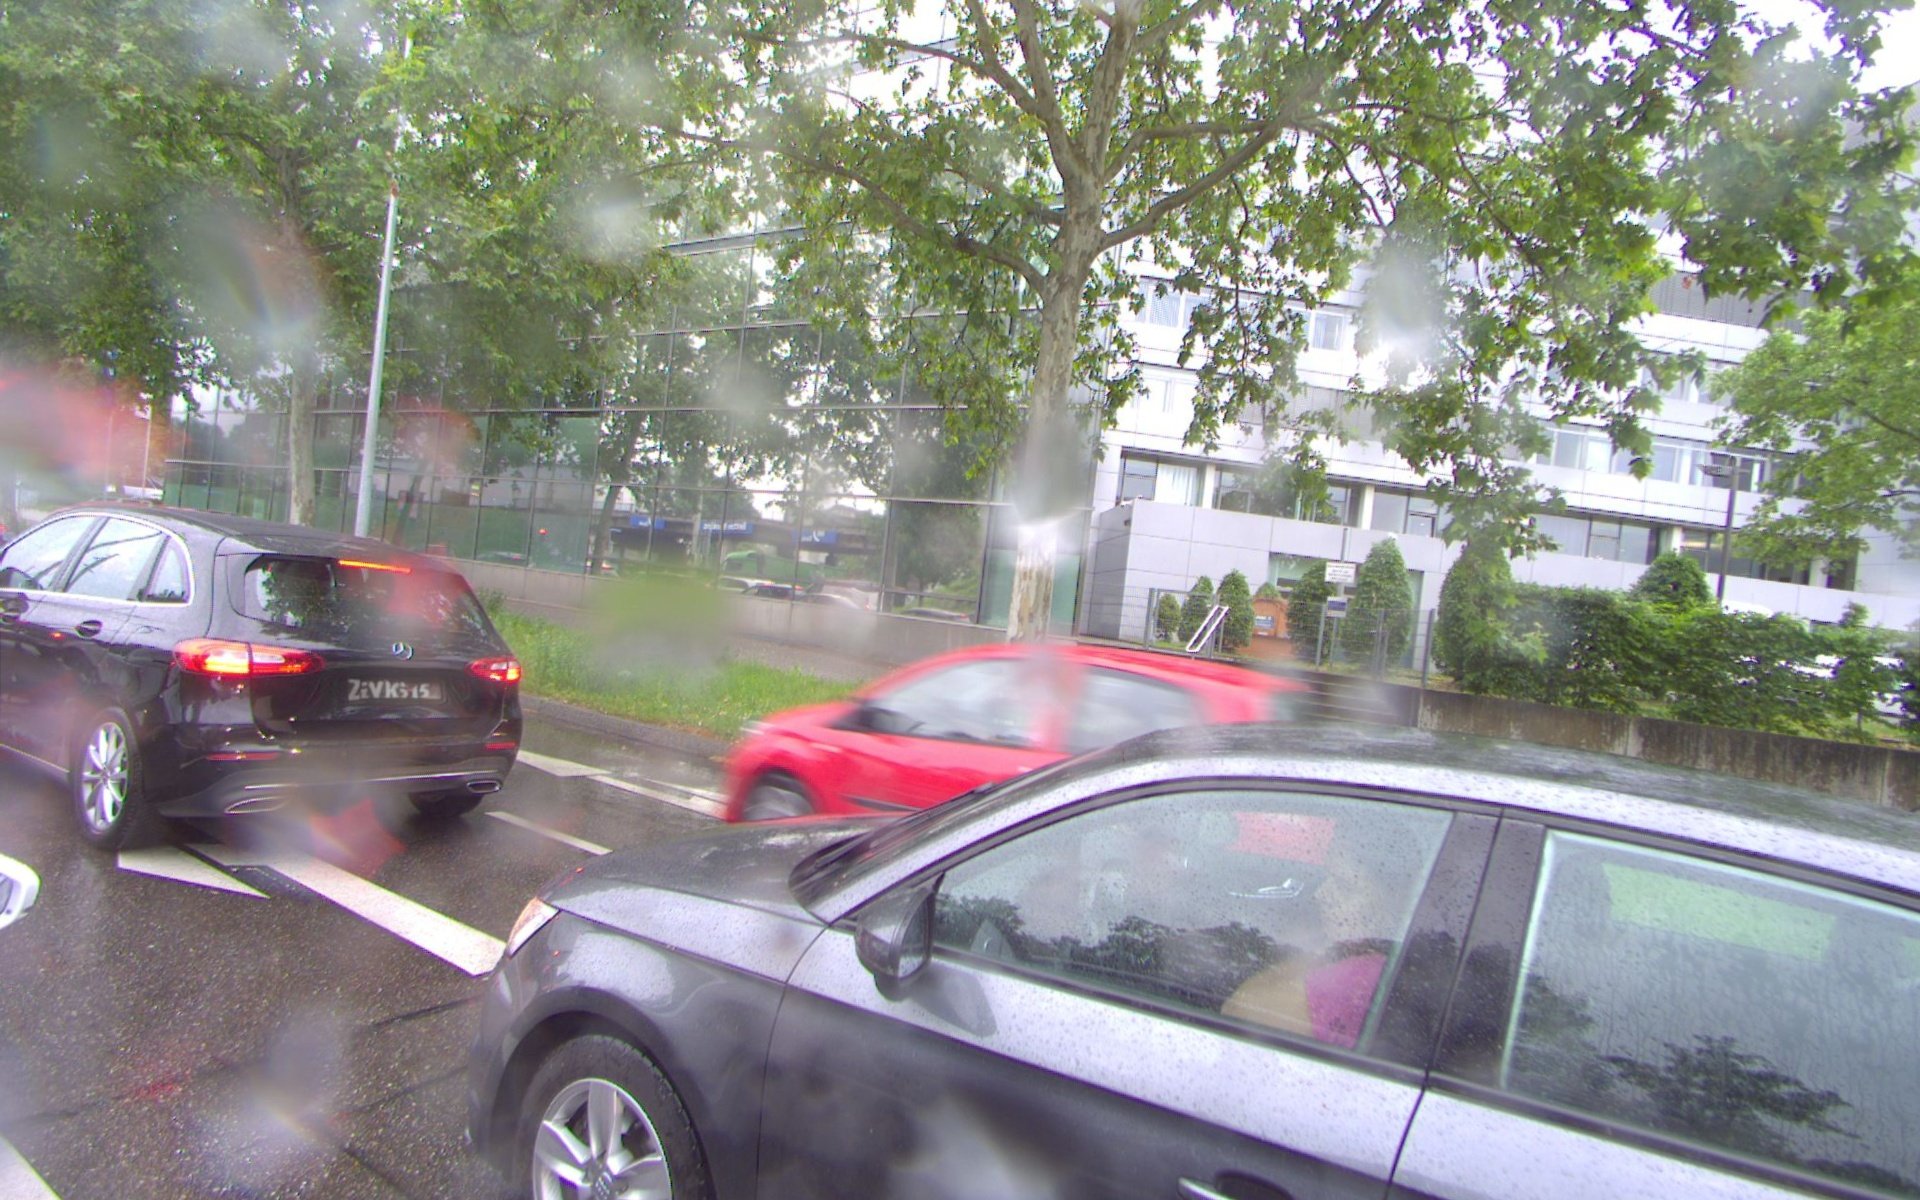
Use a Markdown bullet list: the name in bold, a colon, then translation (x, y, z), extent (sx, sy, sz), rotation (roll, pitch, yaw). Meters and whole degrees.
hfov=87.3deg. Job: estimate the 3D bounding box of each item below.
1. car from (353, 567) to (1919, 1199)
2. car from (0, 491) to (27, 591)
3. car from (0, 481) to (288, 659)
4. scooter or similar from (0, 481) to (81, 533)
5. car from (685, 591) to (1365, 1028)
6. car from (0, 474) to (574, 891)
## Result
- **car**: translation (0.653, 0.899, 2.119), extent (3.718, 1.445, 1.679), rotation (7, -1, 31)
- **car**: translation (-17.957, -1.271, 17.159), extent (3.933, 1.631, 1.880), rotation (7, -2, 32)
- **car**: translation (-10.338, -0.415, 12.383), extent (4.201, 1.714, 1.714), rotation (6, -2, 32)
- **scooter or similar**: translation (-54.524, -5.510, 58.144), extent (5.228, 2.476, 1.893), rotation (7, 0, -9)
- **car**: translation (0.307, 0.924, 5.661), extent (3.332, 1.480, 1.572), rotation (7, -1, 31)
- **car**: translation (-4.343, 0.243, 5.752), extent (4.022, 1.573, 1.751), rotation (7, -1, 31)
